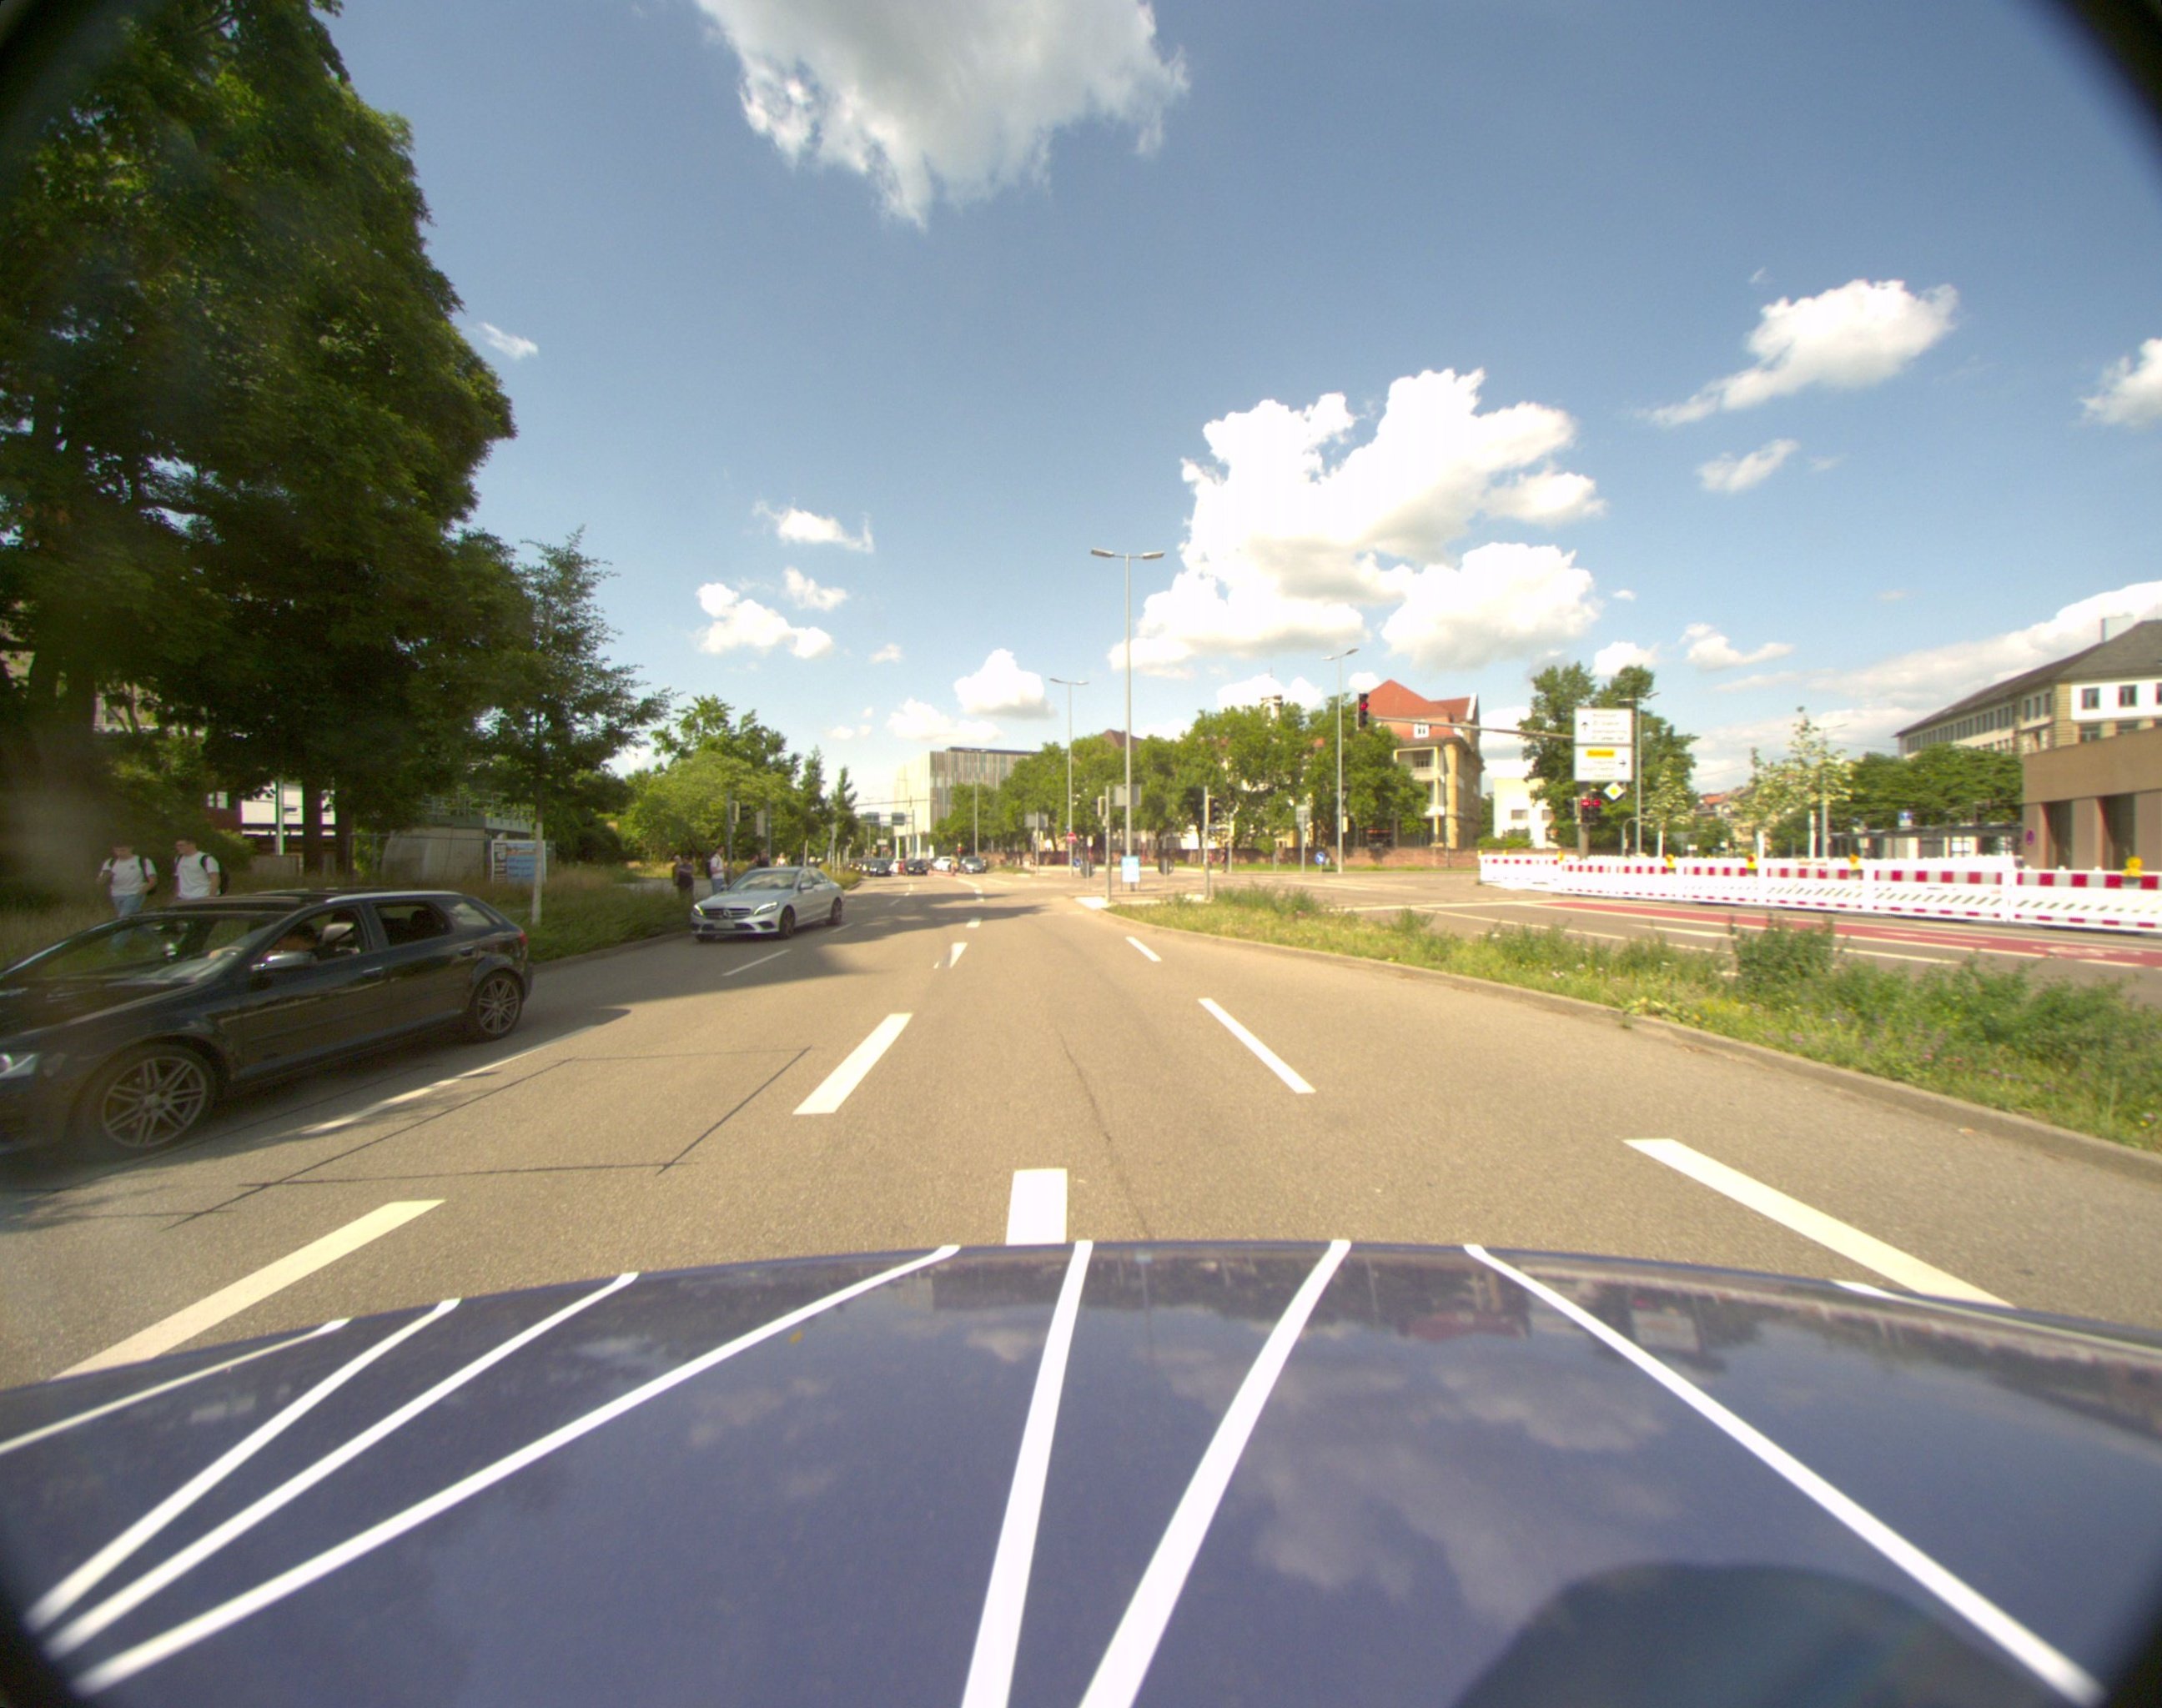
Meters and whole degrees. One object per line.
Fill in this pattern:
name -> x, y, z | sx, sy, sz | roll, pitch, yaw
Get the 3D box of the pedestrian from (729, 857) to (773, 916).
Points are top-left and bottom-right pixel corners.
pedestrian -> -10.056, 0.965, 23.162 | 0.928, 1.725, 0.768 | -2, 1, -2

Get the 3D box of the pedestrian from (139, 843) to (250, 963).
pedestrian -> -13.056, 0.694, 11.221 | 0.616, 1.690, 0.889 | 2, 1, -5

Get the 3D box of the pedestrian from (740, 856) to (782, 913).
pedestrian -> -10.084, 0.945, 23.938 | 0.928, 1.725, 0.768 | -2, 1, -2

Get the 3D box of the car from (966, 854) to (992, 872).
car -> -8.771, 0.741, 65.283 | 2.000, 1.368, 4.265 | -2, 1, -10

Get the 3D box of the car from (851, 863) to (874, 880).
car -> -19.741, 1.567, 68.798 | 1.827, 1.454, 3.995 | -1, 0, -13

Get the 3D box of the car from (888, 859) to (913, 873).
car -> -16.334, 1.057, 68.765 | 1.600, 1.127, 3.622 | -1, 0, -23

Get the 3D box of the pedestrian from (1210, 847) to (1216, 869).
pedestrian -> 10.326, 0.305, 59.462 | 0.369, 1.722, 0.451 | -2, 1, 11

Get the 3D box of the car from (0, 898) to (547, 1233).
car -> -6.095, 1.145, 5.400 | 1.703, 1.364, 4.132 | -1, 0, -1

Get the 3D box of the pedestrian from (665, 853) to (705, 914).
pedestrian -> -11.630, 0.848, 22.328 | 0.768, 1.725, 0.718 | -2, 1, -8

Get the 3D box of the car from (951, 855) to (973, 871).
car -> -11.260, 0.845, 71.964 | 1.734, 1.327, 3.784 | -2, 1, -13

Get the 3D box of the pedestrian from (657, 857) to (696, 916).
pedestrian -> -12.281, 0.969, 23.074 | 0.768, 1.725, 0.718 | -2, 1, -8

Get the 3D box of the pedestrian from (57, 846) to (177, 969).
pedestrian -> -13.921, 0.741, 11.004 | 0.616, 1.690, 0.889 | 2, 1, -5

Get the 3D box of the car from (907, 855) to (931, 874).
car -> -13.713, 0.860, 64.295 | 1.828, 1.454, 3.995 | -1, 0, -14

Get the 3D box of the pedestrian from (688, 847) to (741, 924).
pedestrian -> -9.915, 0.839, 20.575 | 0.965, 2.002, 0.768 | -2, 1, -2

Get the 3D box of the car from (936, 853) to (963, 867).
car -> -13.683, 0.639, 78.768 | 1.781, 1.346, 3.992 | -2, 1, -23

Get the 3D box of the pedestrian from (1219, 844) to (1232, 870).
pedestrian -> 11.010, 0.212, 57.911 | 0.582, 1.982, 0.621 | -3, 1, -27

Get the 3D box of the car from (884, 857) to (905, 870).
car -> -18.402, 0.931, 75.111 | 1.911, 1.127, 4.096 | -1, 2, -13

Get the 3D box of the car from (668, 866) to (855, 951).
car -> -6.683, 1.057, 16.581 | 1.935, 1.447, 4.759 | -2, 0, 1

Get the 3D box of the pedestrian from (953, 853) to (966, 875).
pedestrian -> -9.651, 0.769, 60.201 | 0.739, 1.704, 0.874 | -3, 1, -22

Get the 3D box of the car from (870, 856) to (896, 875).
car -> -16.225, 0.938, 62.345 | 1.827, 1.454, 3.995 | -1, 0, -12
